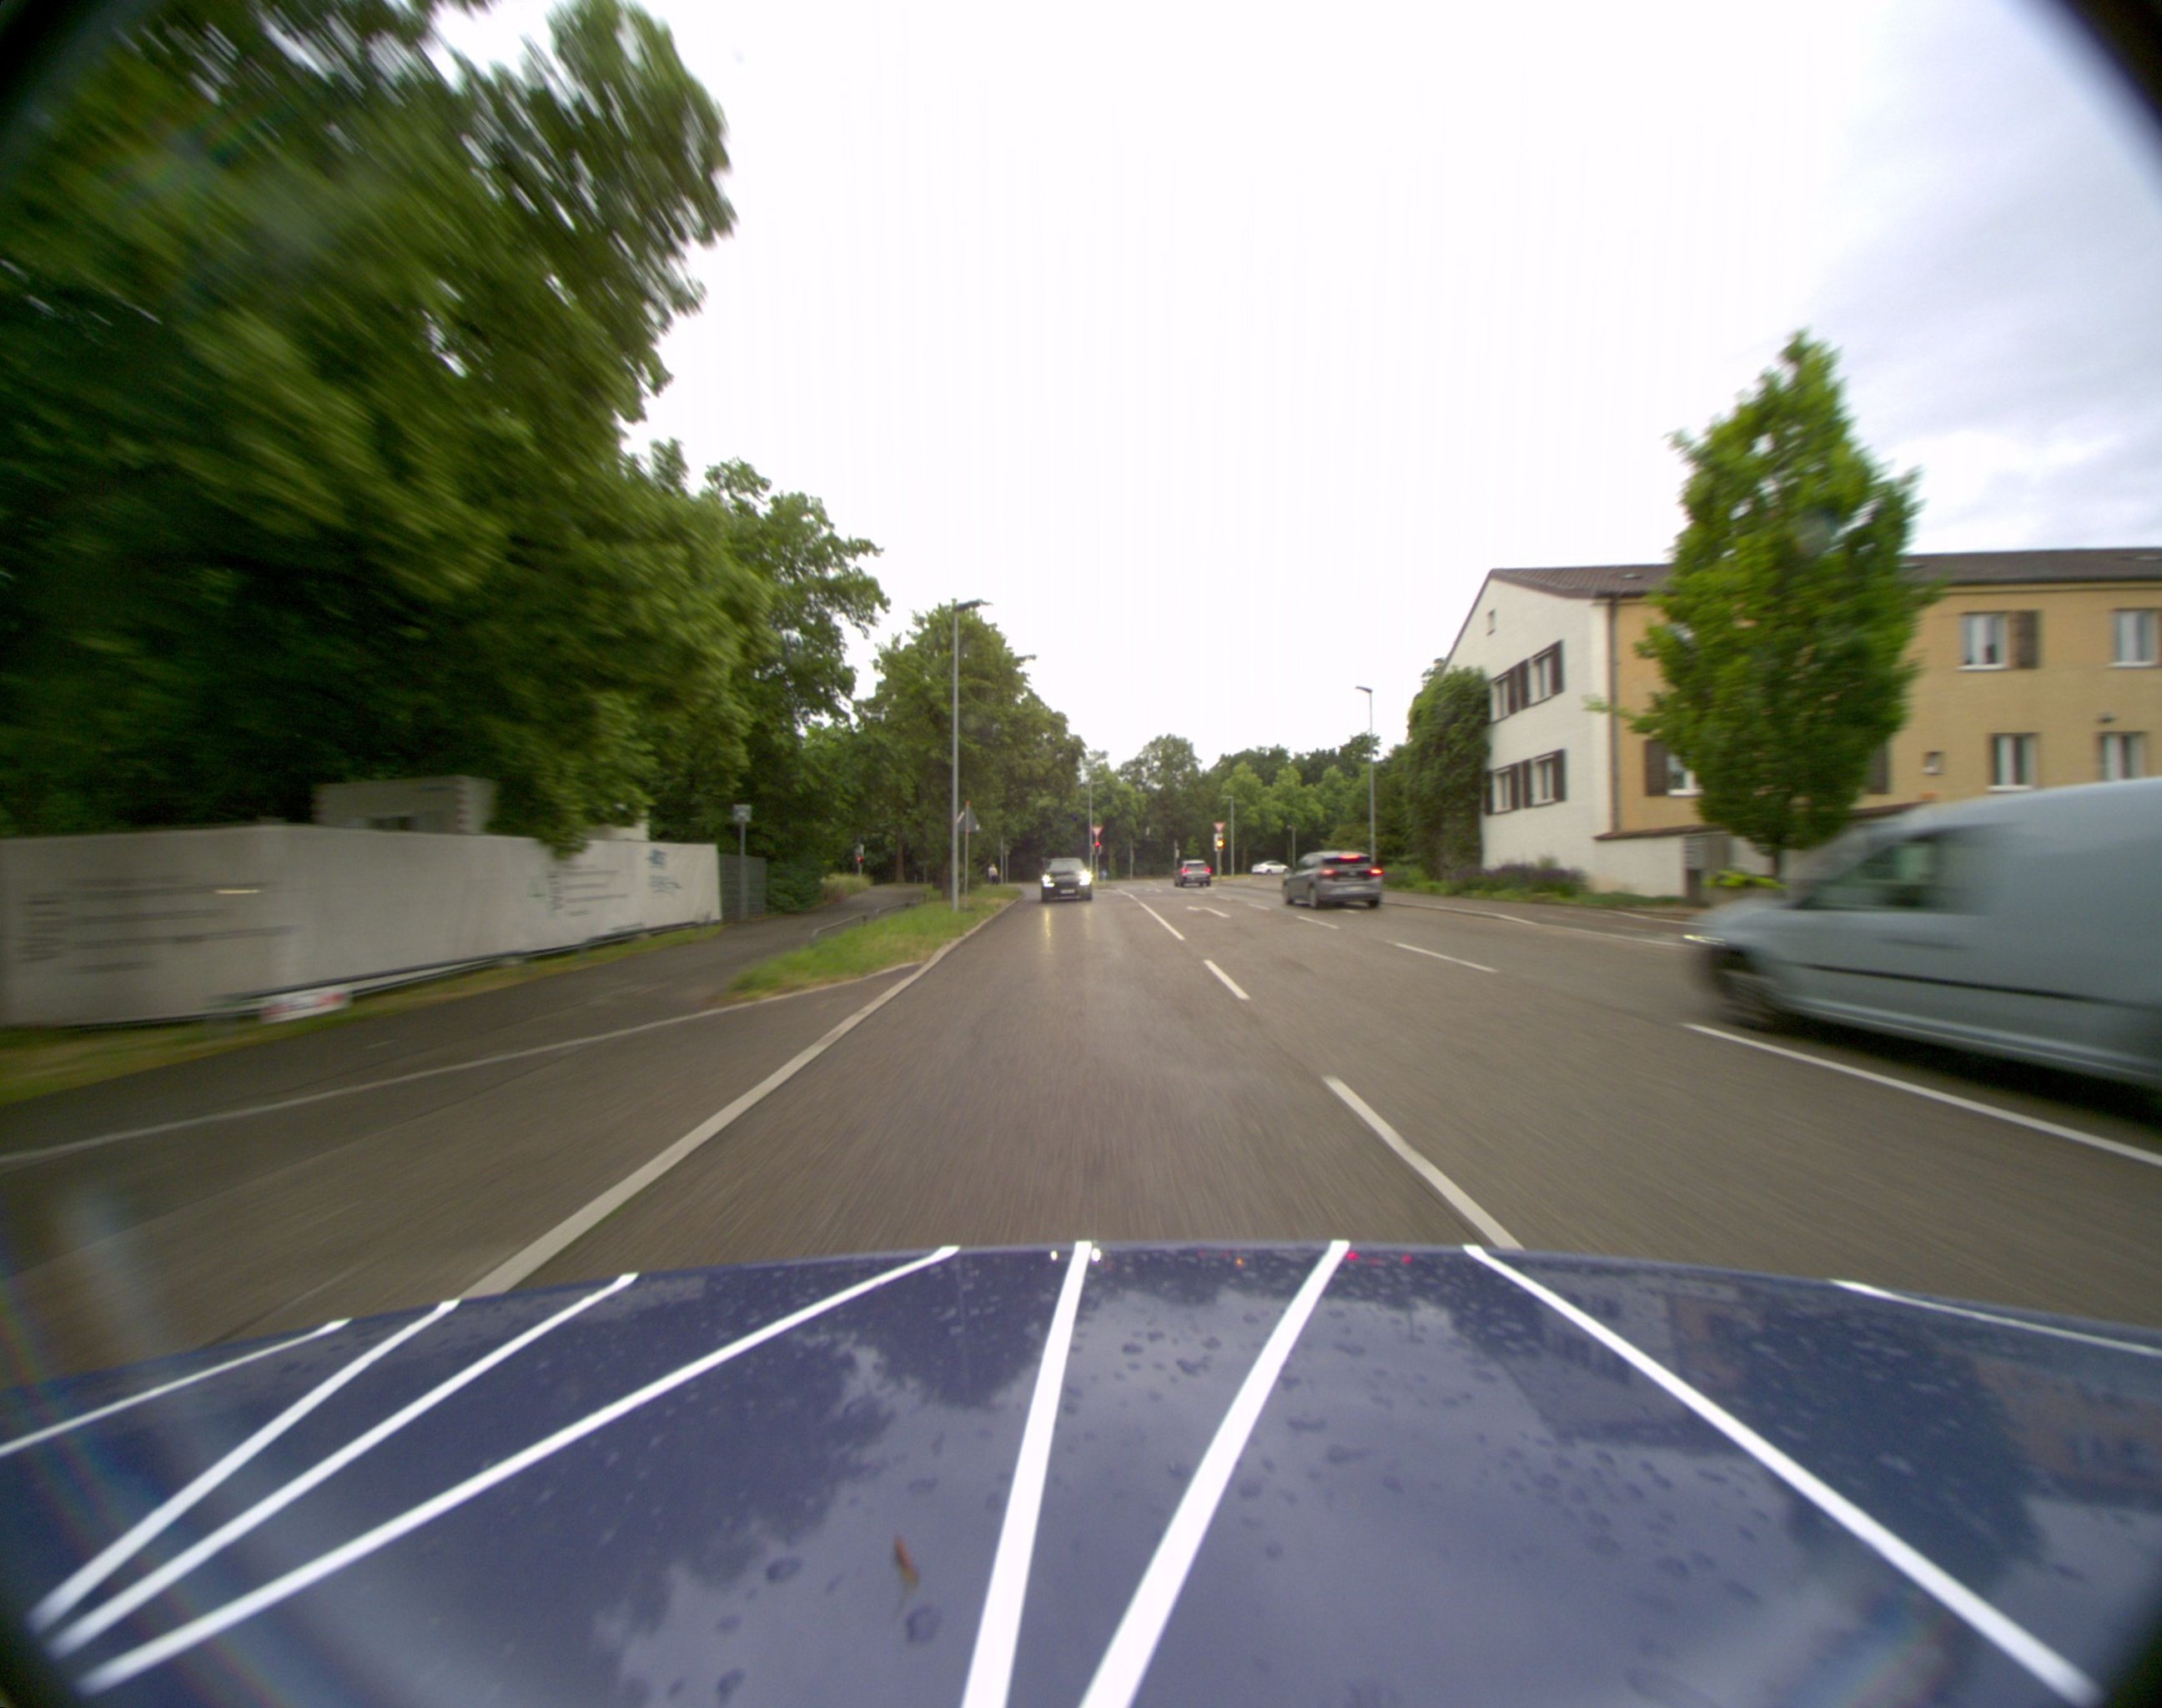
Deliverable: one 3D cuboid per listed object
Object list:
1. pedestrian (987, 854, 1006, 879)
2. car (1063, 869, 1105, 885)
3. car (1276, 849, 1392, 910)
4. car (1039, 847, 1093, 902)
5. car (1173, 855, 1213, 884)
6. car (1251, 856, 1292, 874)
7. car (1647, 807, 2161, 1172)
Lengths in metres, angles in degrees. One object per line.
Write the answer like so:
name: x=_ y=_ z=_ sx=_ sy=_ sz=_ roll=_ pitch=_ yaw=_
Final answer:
pedestrian: x=-5.897 y=0.892 z=52.924 sx=1.019 sy=1.711 sz=0.747 roll=-1 pitch=2 yaw=43
car: x=0.308 y=2.616 z=86.795 sx=4.348 sy=1.506 sz=1.996 roll=-2 pitch=1 yaw=-21
car: x=7.015 y=0.641 z=21.618 sx=1.887 sy=1.449 sz=4.469 roll=-2 pitch=1 yaw=1
car: x=-0.525 y=0.751 z=30.699 sx=1.847 sy=1.961 sz=4.344 roll=-2 pitch=1 yaw=2
car: x=6.890 y=0.941 z=46.986 sx=1.925 sy=1.618 sz=4.345 roll=-2 pitch=-1 yaw=2
car: x=21.413 y=1.202 z=85.404 sx=4.351 sy=1.755 sz=1.995 roll=-2 pitch=1 yaw=-34
car: x=5.983 y=0.588 z=4.569 sx=1.899 sy=1.695 sz=4.509 roll=-2 pitch=1 yaw=2
